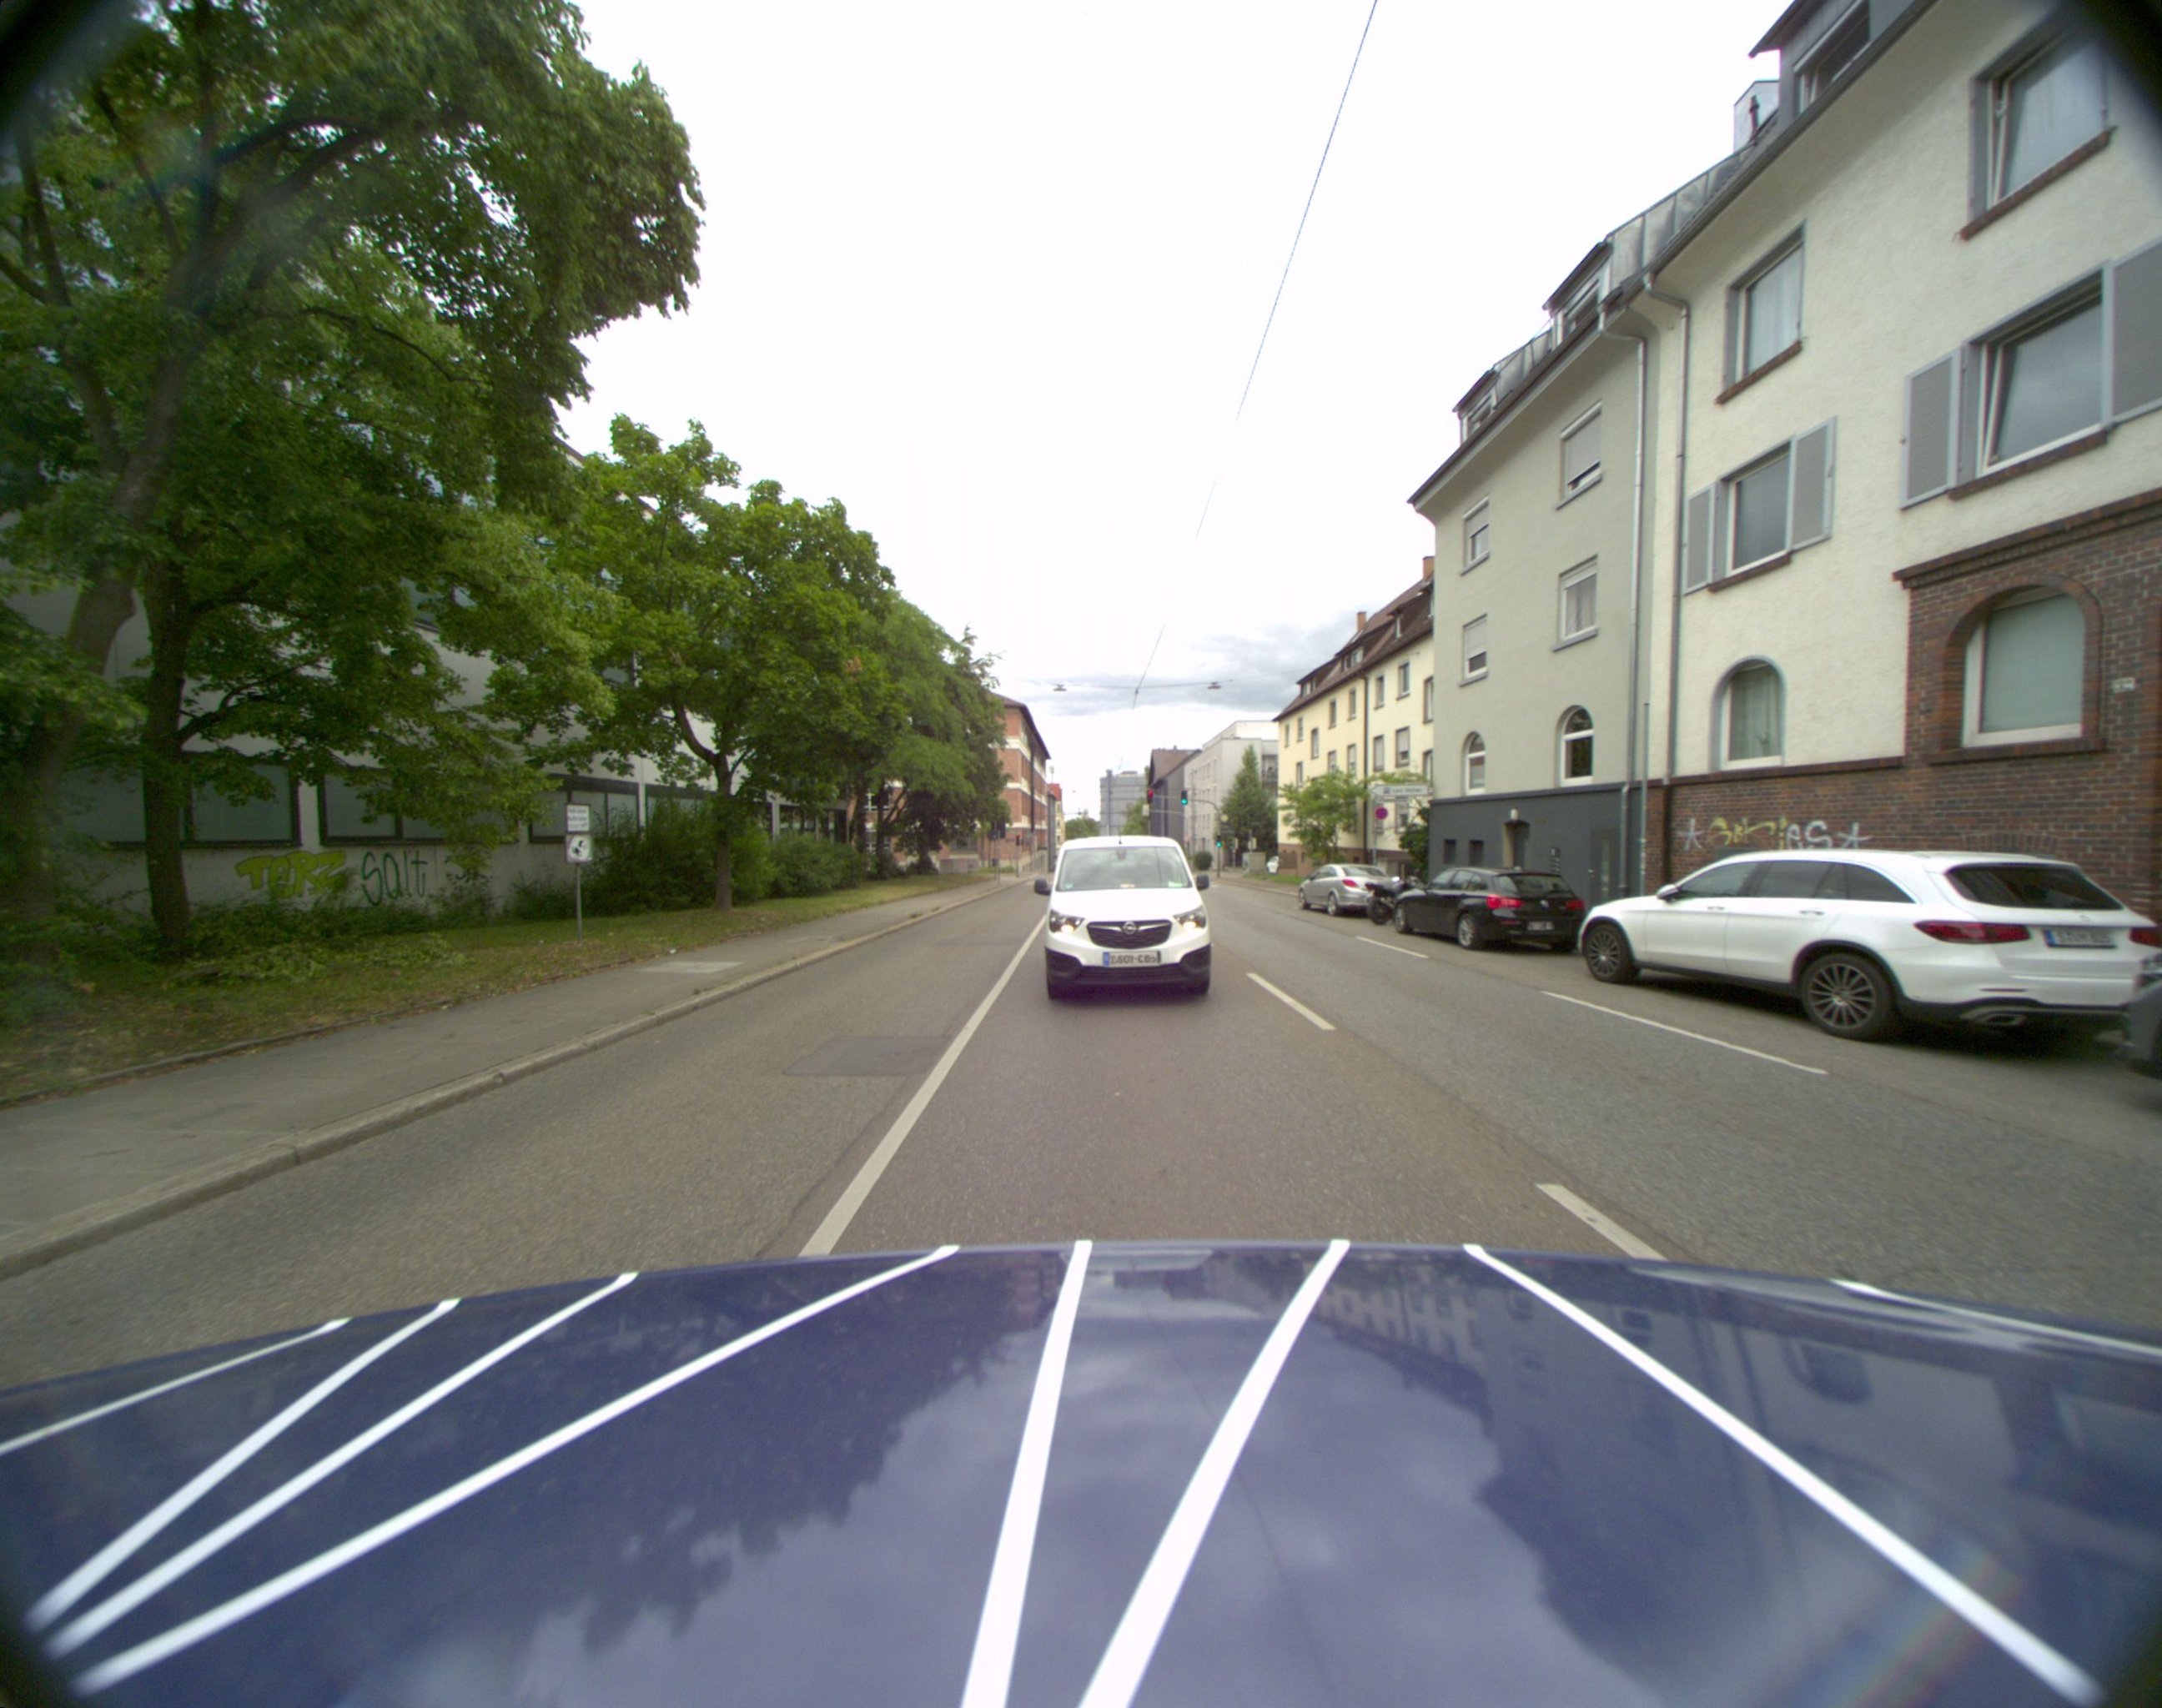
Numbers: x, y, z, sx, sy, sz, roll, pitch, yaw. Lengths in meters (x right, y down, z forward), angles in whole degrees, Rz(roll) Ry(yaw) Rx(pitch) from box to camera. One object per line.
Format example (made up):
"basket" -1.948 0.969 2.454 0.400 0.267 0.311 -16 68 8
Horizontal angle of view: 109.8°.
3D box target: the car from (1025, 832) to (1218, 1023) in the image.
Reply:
"car" 0.437 0.767 9.570 1.850 1.831 4.285 -1 -1 1

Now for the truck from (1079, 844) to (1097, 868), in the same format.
"truck" 1.136 0.320 112.282 2.545 3.478 8.521 0 0 1

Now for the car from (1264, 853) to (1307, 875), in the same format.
"car" 15.367 0.789 57.301 1.819 1.527 4.260 2 -1 -4

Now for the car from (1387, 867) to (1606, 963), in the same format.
"car" 7.278 0.982 13.868 1.731 1.421 4.191 0 0 0

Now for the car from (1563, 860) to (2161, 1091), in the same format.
"car" 7.320 0.886 7.745 1.850 1.612 4.643 0 0 0

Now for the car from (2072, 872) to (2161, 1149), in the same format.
"car" 7.010 0.908 2.499 1.731 1.590 4.502 0 0 3

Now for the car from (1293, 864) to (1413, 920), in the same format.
"car" 7.396 0.977 21.143 1.731 1.366 4.337 0 0 -1

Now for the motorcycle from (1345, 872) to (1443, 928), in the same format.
"motorcycle" 7.361 1.077 17.870 2.048 1.228 0.806 2 0 -17
